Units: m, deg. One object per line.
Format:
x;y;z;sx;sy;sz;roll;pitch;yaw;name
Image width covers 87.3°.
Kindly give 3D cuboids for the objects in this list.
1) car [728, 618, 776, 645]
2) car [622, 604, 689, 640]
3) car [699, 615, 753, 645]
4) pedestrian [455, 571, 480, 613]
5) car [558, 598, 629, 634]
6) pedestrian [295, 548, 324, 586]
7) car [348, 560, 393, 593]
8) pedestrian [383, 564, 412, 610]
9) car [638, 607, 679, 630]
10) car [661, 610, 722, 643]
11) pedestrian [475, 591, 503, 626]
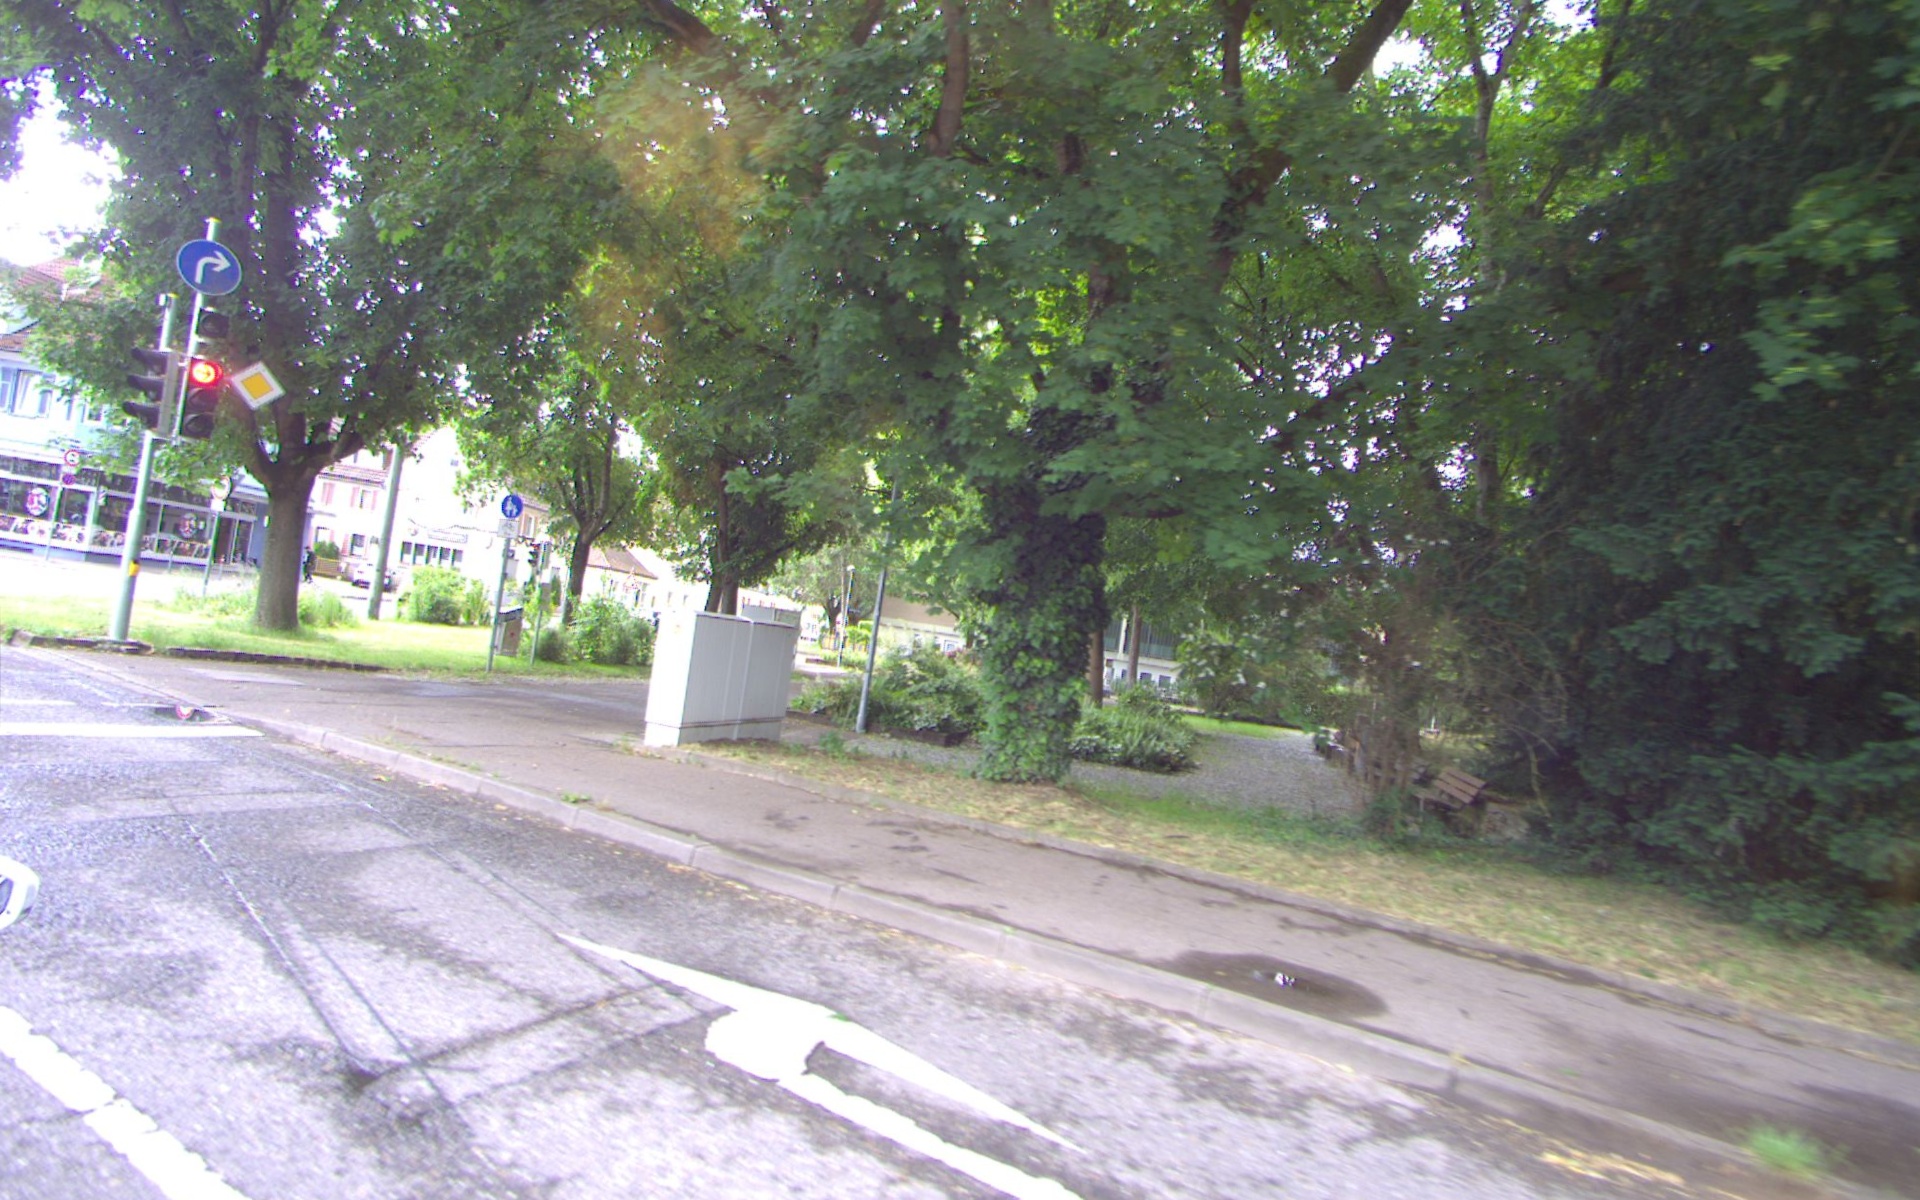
-13.799;2.121;66.957;1.618;1.474;3.740;7;-2;12;car
-15.412;1.153;51.076;1.618;1.474;3.478;7;-2;12;car
-14.083;1.823;60.818;1.618;1.474;3.740;7;-2;12;car
-19.435;-0.309;39.718;0.688;1.578;0.662;8;-1;-29;pedestrian
-16.288;0.721;44.821;1.436;1.282;3.014;7;-2;12;car
-29.835;-1.507;46.144;0.732;1.578;0.673;7;-1;16;pedestrian
-31.387;-1.265;53.644;1.871;1.406;3.588;9;-2;-30;car
-20.836;-0.483;37.268;0.725;1.578;0.763;8;-1;-28;pedestrian
-22.758;1.407;76.084;1.736;1.463;3.865;7;-2;1;car
-14.830;1.514;55.824;1.618;1.474;3.740;7;-2;12;car
-15.759;0.301;33.677;0.506;1.093;0.507;7;-1;16;pedestrian
